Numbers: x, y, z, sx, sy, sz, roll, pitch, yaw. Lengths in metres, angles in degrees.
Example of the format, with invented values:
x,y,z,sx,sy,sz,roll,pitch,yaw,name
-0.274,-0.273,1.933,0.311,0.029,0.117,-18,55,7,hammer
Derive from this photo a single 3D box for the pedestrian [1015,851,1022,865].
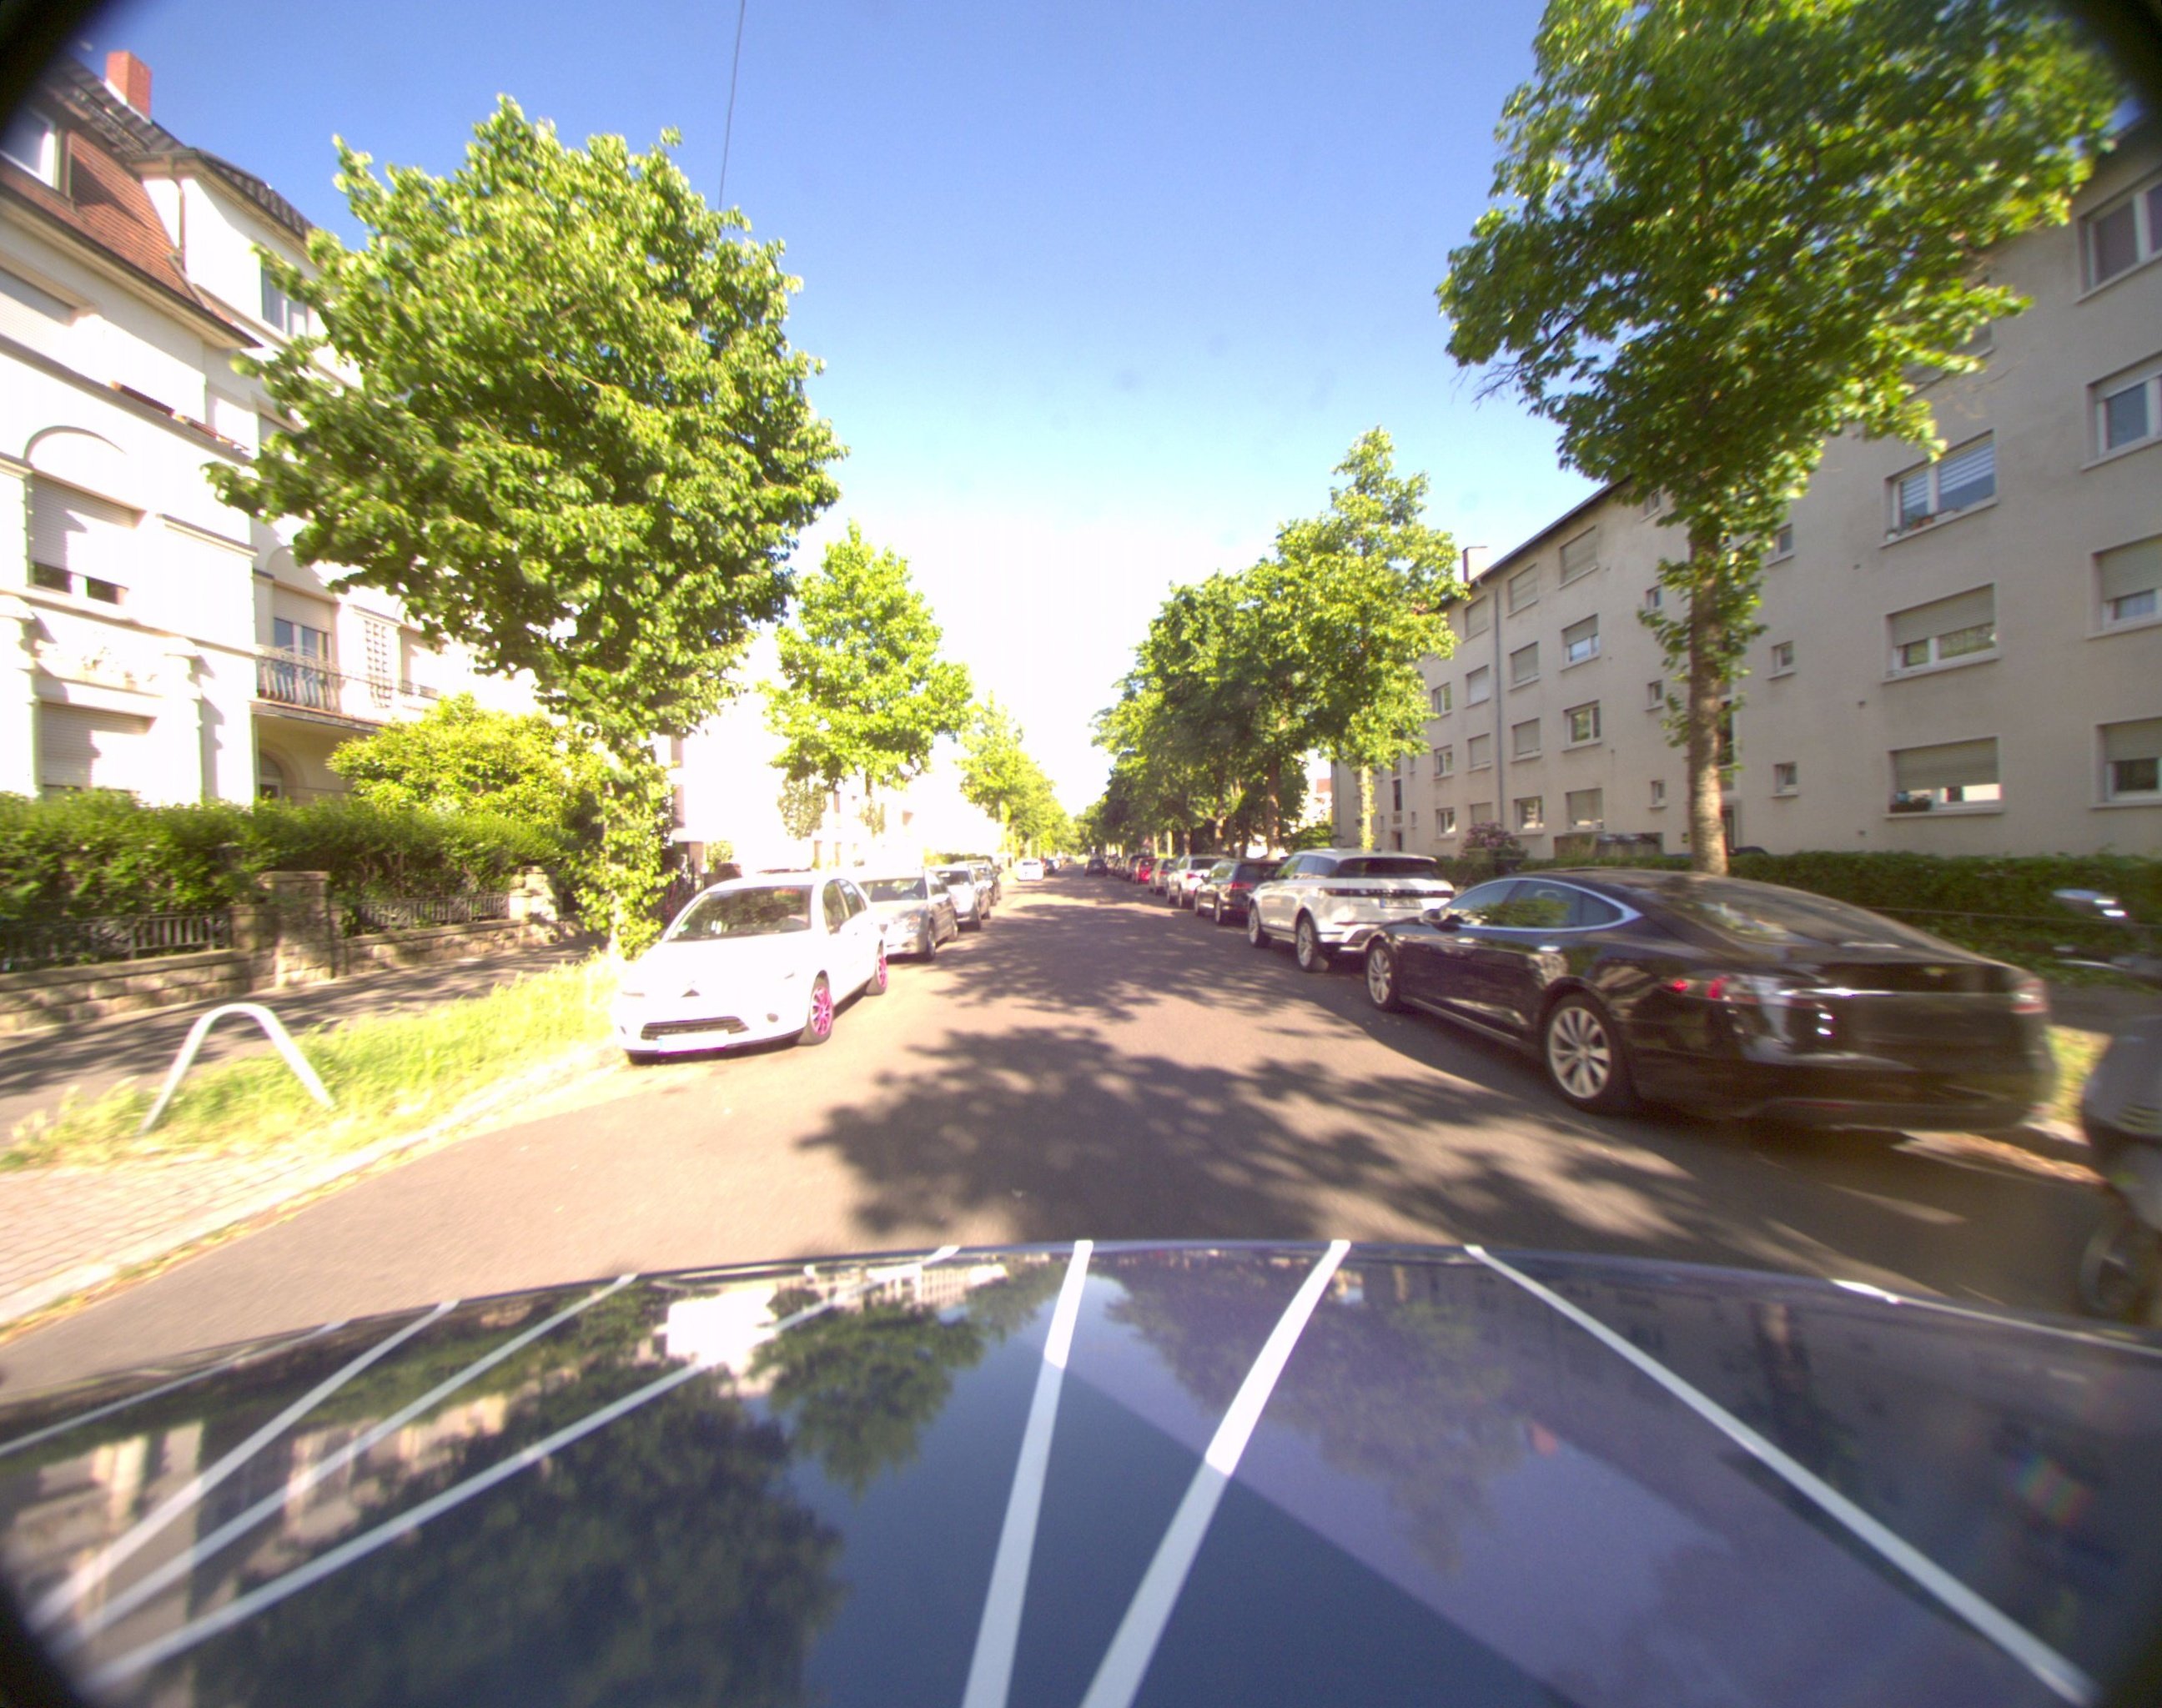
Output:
x,y,z,sx,sy,sz,roll,pitch,yaw,name
-9.197,0.631,112.007,0.907,2.002,1.006,-1,1,0,pedestrian

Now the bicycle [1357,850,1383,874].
x,y,z,sx,sy,sz,roll,pitch,yaw,name
15.271,0.416,40.212,0.687,1.194,1.912,-1,0,2,bicycle

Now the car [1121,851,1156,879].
x,y,z,sx,sy,sz,roll,pitch,yaw,name
3.633,0.685,48.650,1.772,1.678,4.813,-1,0,-1,car

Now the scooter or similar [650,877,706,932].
x,y,z,sx,sy,sz,roll,pitch,yaw,name
-9.172,1.138,17.326,0.402,1.178,1.207,-1,0,15,scooter or similar

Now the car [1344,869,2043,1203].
x,y,z,sx,sy,sz,roll,pitch,yaw,name
3.778,0.937,6.005,1.733,1.469,4.618,2,0,0,car

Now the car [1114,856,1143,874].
x,y,z,sx,sy,sz,roll,pitch,yaw,name
3.682,0.831,59.318,1.790,1.344,4.480,-1,0,-2,car

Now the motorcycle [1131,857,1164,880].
x,y,z,sx,sy,sz,roll,pitch,yaw,name
4.009,0.873,45.698,1.957,1.324,0.787,-1,0,7,motorcycle

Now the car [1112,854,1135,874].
x,y,z,sx,sy,sz,roll,pitch,yaw,name
3.551,0.804,64.529,1.710,1.568,4.481,-1,0,0,car

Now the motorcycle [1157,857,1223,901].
x,y,z,sx,sy,sz,roll,pitch,yaw,name
3.861,0.852,27.072,0.991,1.495,2.227,-1,0,-40,motorcycle

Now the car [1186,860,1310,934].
x,y,z,sx,sy,sz,roll,pitch,yaw,name
3.731,0.889,17.817,1.733,1.438,4.820,1,0,-1,car

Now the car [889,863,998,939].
x,y,z,sx,sy,sz,roll,pitch,yaw,name
-3.157,1.019,18.485,1.826,1.461,4.908,-3,0,-2,car

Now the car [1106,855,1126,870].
x,y,z,sx,sy,sz,roll,pitch,yaw,name
3.522,0.824,76.343,1.658,1.365,4.188,-1,0,-2,car

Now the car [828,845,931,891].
x,y,z,sx,sy,sz,roll,pitch,yaw,name
-10.919,0.707,41.122,5.062,2.292,2.230,-1,0,-24,car

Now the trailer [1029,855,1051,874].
x,y,z,sx,sy,sz,roll,pitch,yaw,name
-3.701,0.918,69.114,1.578,1.569,3.192,-4,0,2,trailer

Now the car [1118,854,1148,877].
x,y,z,sx,sy,sz,roll,pitch,yaw,name
3.652,0.769,53.888,1.773,1.522,4.419,-1,0,0,car

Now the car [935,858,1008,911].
x,y,z,sx,sy,sz,roll,pitch,yaw,name
-3.658,0.968,26.264,1.901,1.515,4.965,-2,1,-2,car

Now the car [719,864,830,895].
x,y,z,sx,sy,sz,roll,pitch,yaw,name
-15.995,1.294,39.810,4.941,1.461,2.047,-1,0,-2,car

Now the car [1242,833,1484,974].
x,y,z,sx,sy,sz,roll,pitch,yaw,name
3.689,0.560,10.865,1.733,1.608,4.365,0,0,-1,car

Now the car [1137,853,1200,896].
x,y,z,sx,sy,sz,roll,pitch,yaw,name
3.447,0.769,30.830,2.048,1.515,4.606,-2,0,1,car

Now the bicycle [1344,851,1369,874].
x,y,z,sx,sy,sz,roll,pitch,yaw,name
14.563,0.443,40.226,0.687,1.194,1.912,-1,0,2,bicycle

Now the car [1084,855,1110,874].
x,y,z,sx,sy,sz,roll,pitch,yaw,name
1.241,0.836,60.748,1.814,1.437,4.365,0,0,-2,car

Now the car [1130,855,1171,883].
x,y,z,sx,sy,sz,roll,pitch,yaw,name
3.841,0.786,42.394,1.861,1.461,4.182,-1,0,0,car

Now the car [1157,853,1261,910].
x,y,z,sx,sy,sz,roll,pitch,yaw,name
3.739,0.760,23.093,2.070,1.515,4.720,-1,0,-3,car

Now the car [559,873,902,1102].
x,y,z,sx,sy,sz,roll,pitch,yaw,name
-3.130,1.063,7.770,1.658,1.523,3.968,-4,0,-2,car

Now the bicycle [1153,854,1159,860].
x,y,z,sx,sy,sz,roll,pitch,yaw,name
10.201,0.409,103.734,0.596,0.911,1.903,-1,0,-2,bicycle

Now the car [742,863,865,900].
x,y,z,sx,sy,sz,roll,pitch,yaw,name
-12.141,1.188,33.302,4.725,1.461,1.955,-1,1,14,car

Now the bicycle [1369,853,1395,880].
x,y,z,sx,sy,sz,roll,pitch,yaw,name
14.408,0.587,36.407,0.399,1.281,1.913,-1,0,-1,bicycle

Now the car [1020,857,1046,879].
x,y,z,sx,sy,sz,roll,pitch,yaw,name
-3.404,0.966,54.195,1.737,1.478,4.008,-2,0,-2,car

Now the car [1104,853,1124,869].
x,y,z,sx,sy,sz,roll,pitch,yaw,name
3.528,0.688,81.619,1.846,1.647,5.087,-1,0,-1,car

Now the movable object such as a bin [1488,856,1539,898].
x,y,z,sx,sy,sz,roll,pitch,yaw,name
11.607,0.615,20.400,0.932,1.086,0.754,-1,1,-6,movable object such as a bin

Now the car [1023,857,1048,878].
x,y,z,sx,sy,sz,roll,pitch,yaw,name
-3.472,1.011,58.765,1.674,1.442,4.178,-4,0,-2,car

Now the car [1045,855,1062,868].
x,y,z,sx,sy,sz,roll,pitch,yaw,name
-3.426,0.902,94.117,1.786,1.509,4.685,-2,0,-4,car

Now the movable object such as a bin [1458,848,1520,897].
x,y,z,sx,sy,sz,roll,pitch,yaw,name
11.485,0.499,21.447,0.932,1.316,1.378,-1,1,-6,movable object such as a bin

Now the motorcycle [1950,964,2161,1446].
x,y,z,sx,sy,sz,roll,pitch,yaw,name
4.146,1.031,2.382,2.293,1.263,0.807,0,0,-11,motorcycle

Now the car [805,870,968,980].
x,y,z,sx,sy,sz,roll,pitch,yaw,name
-3.191,1.083,13.496,1.715,1.402,4.860,-3,0,-2,car

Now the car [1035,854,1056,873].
x,y,z,sx,sy,sz,roll,pitch,yaw,name
-3.436,0.921,73.835,1.797,1.633,4.818,-4,0,-1,car
